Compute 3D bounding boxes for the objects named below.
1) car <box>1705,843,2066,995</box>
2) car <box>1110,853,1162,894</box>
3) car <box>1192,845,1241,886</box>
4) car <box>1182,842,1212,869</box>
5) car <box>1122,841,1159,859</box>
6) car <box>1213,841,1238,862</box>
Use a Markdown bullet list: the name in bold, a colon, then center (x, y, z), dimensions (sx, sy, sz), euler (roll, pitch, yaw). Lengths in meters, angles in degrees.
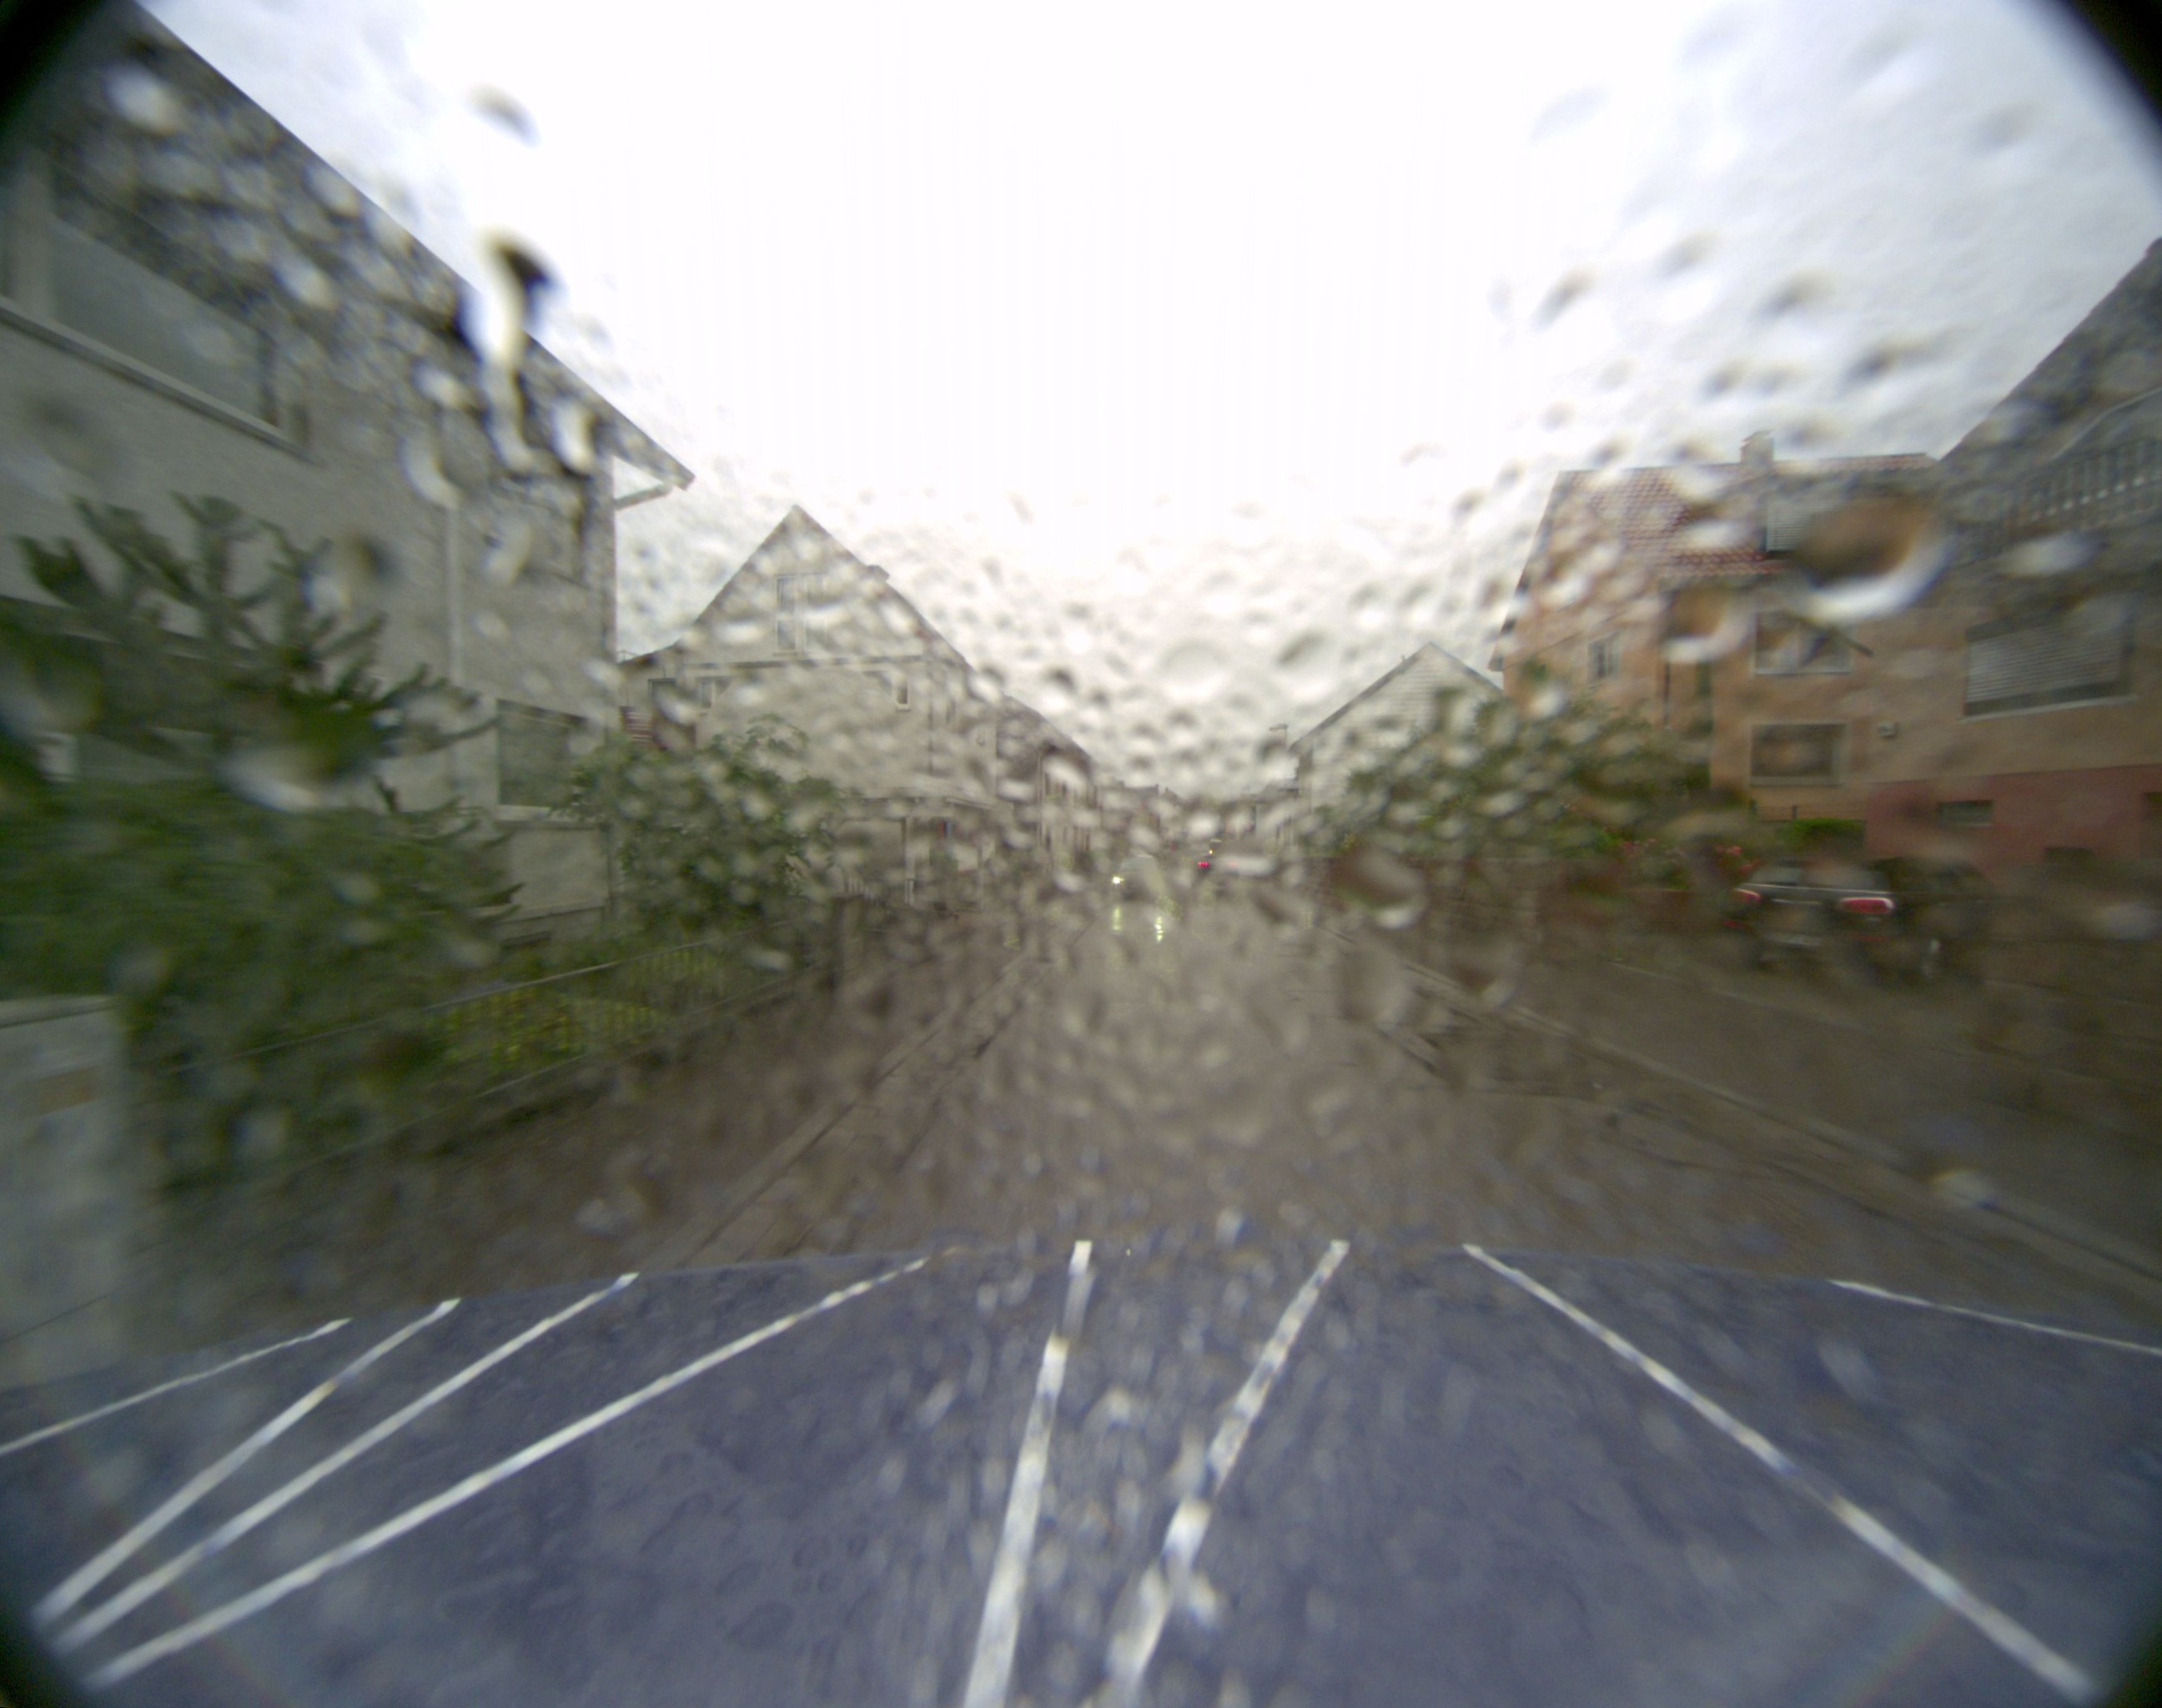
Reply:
- **car**: center (9.972, 0.643, 9.430), dimensions (4.004, 1.443, 1.810), euler (-2, 3, -24)
- **car**: center (1.997, 0.642, 26.768), dimensions (1.666, 1.290, 3.519), euler (-2, 0, 6)
- **car**: center (5.557, 0.428, 31.566), dimensions (1.703, 1.538, 3.852), euler (2, 1, 6)
- **car**: center (7.686, 0.044, 50.405), dimensions (1.837, 1.664, 5.199), euler (1, 2, 8)
- **car**: center (5.456, -0.359, 69.944), dimensions (1.893, 1.566, 3.884), euler (-3, 1, -19)
- **car**: center (12.091, -0.234, 63.500), dimensions (1.814, 1.674, 4.187), euler (1, 2, 13)
